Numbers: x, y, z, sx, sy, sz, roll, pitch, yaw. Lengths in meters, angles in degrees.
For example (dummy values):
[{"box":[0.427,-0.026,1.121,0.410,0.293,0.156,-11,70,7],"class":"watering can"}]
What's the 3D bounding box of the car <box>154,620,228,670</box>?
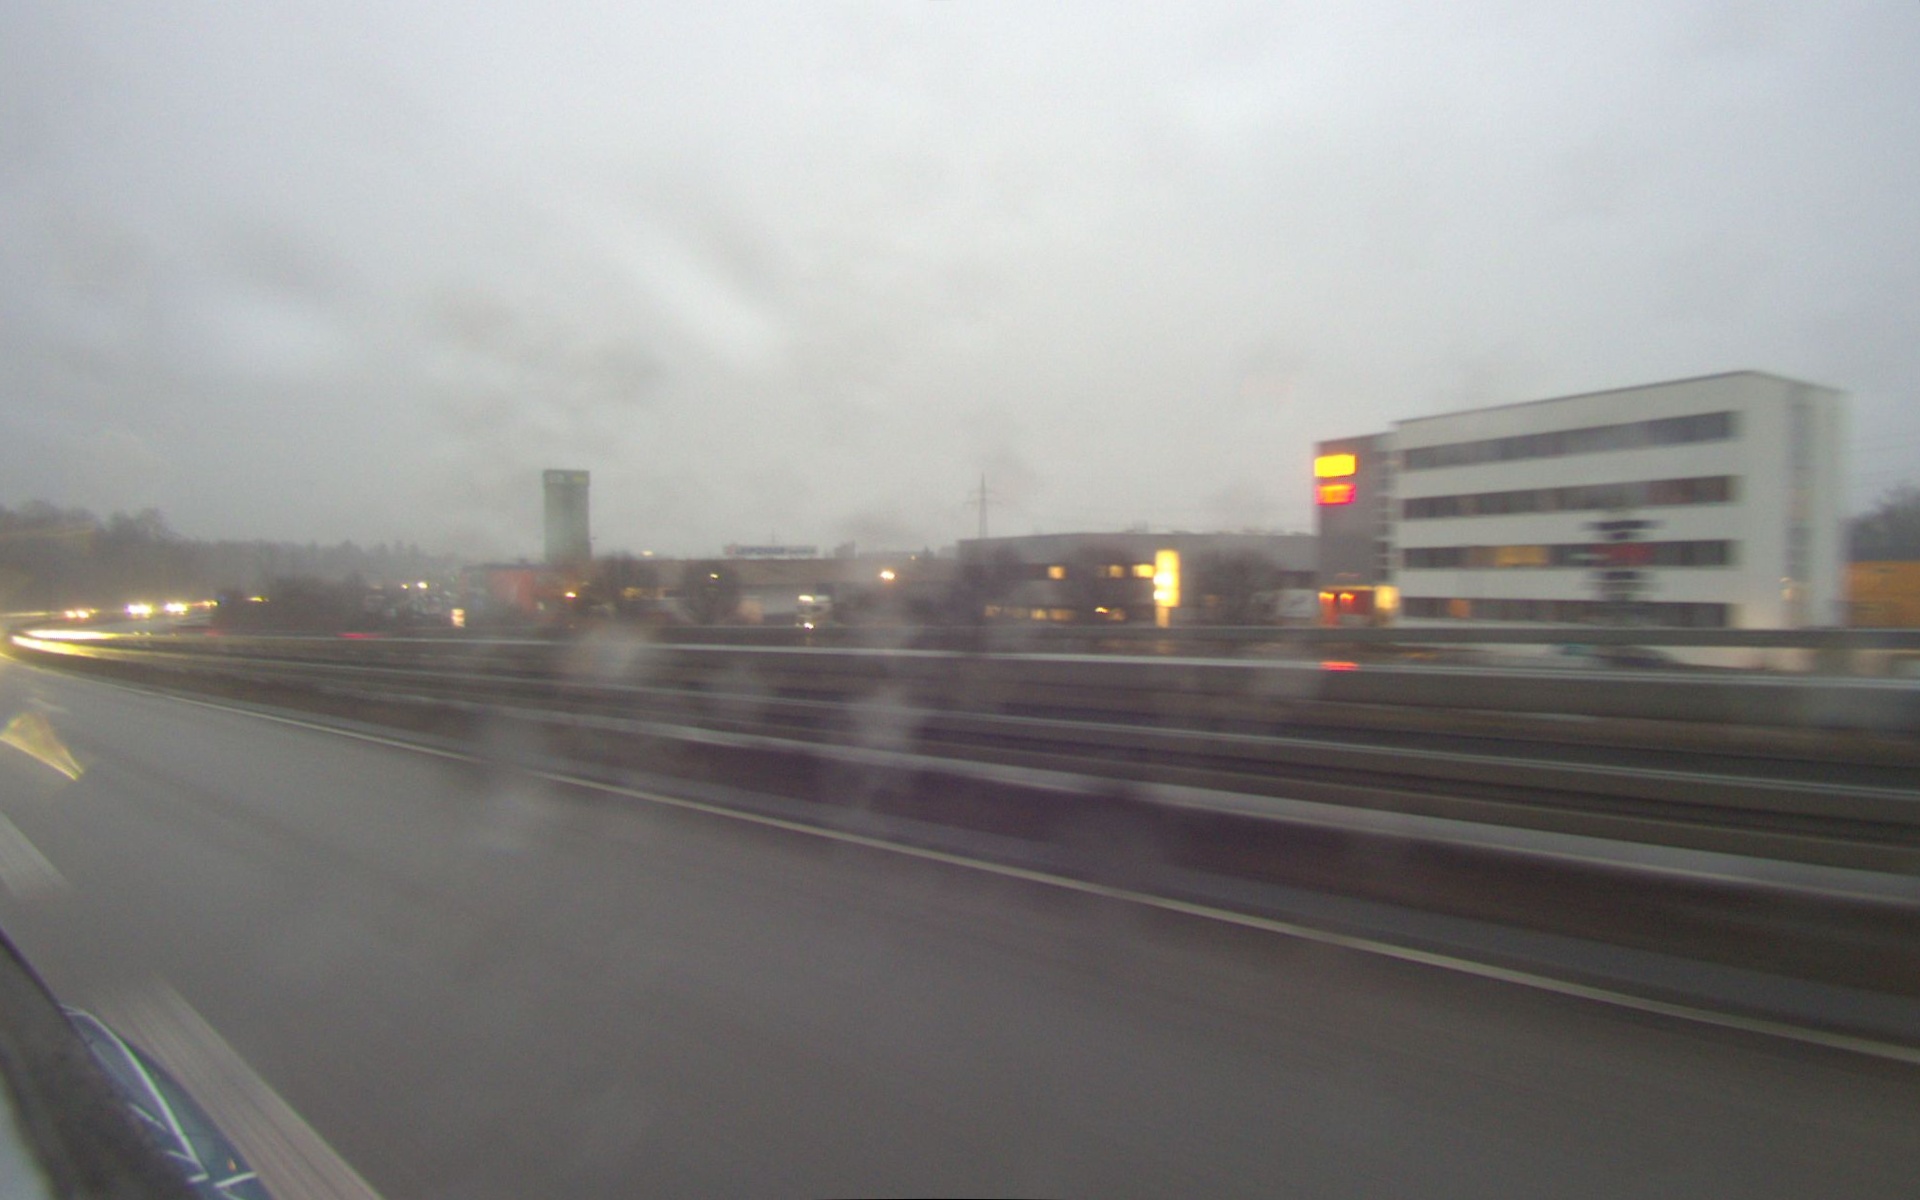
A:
[{"box":[-31.228,1.784,41.063,1.970,1.863,3.675,-1,0,-44],"class":"car"}]
